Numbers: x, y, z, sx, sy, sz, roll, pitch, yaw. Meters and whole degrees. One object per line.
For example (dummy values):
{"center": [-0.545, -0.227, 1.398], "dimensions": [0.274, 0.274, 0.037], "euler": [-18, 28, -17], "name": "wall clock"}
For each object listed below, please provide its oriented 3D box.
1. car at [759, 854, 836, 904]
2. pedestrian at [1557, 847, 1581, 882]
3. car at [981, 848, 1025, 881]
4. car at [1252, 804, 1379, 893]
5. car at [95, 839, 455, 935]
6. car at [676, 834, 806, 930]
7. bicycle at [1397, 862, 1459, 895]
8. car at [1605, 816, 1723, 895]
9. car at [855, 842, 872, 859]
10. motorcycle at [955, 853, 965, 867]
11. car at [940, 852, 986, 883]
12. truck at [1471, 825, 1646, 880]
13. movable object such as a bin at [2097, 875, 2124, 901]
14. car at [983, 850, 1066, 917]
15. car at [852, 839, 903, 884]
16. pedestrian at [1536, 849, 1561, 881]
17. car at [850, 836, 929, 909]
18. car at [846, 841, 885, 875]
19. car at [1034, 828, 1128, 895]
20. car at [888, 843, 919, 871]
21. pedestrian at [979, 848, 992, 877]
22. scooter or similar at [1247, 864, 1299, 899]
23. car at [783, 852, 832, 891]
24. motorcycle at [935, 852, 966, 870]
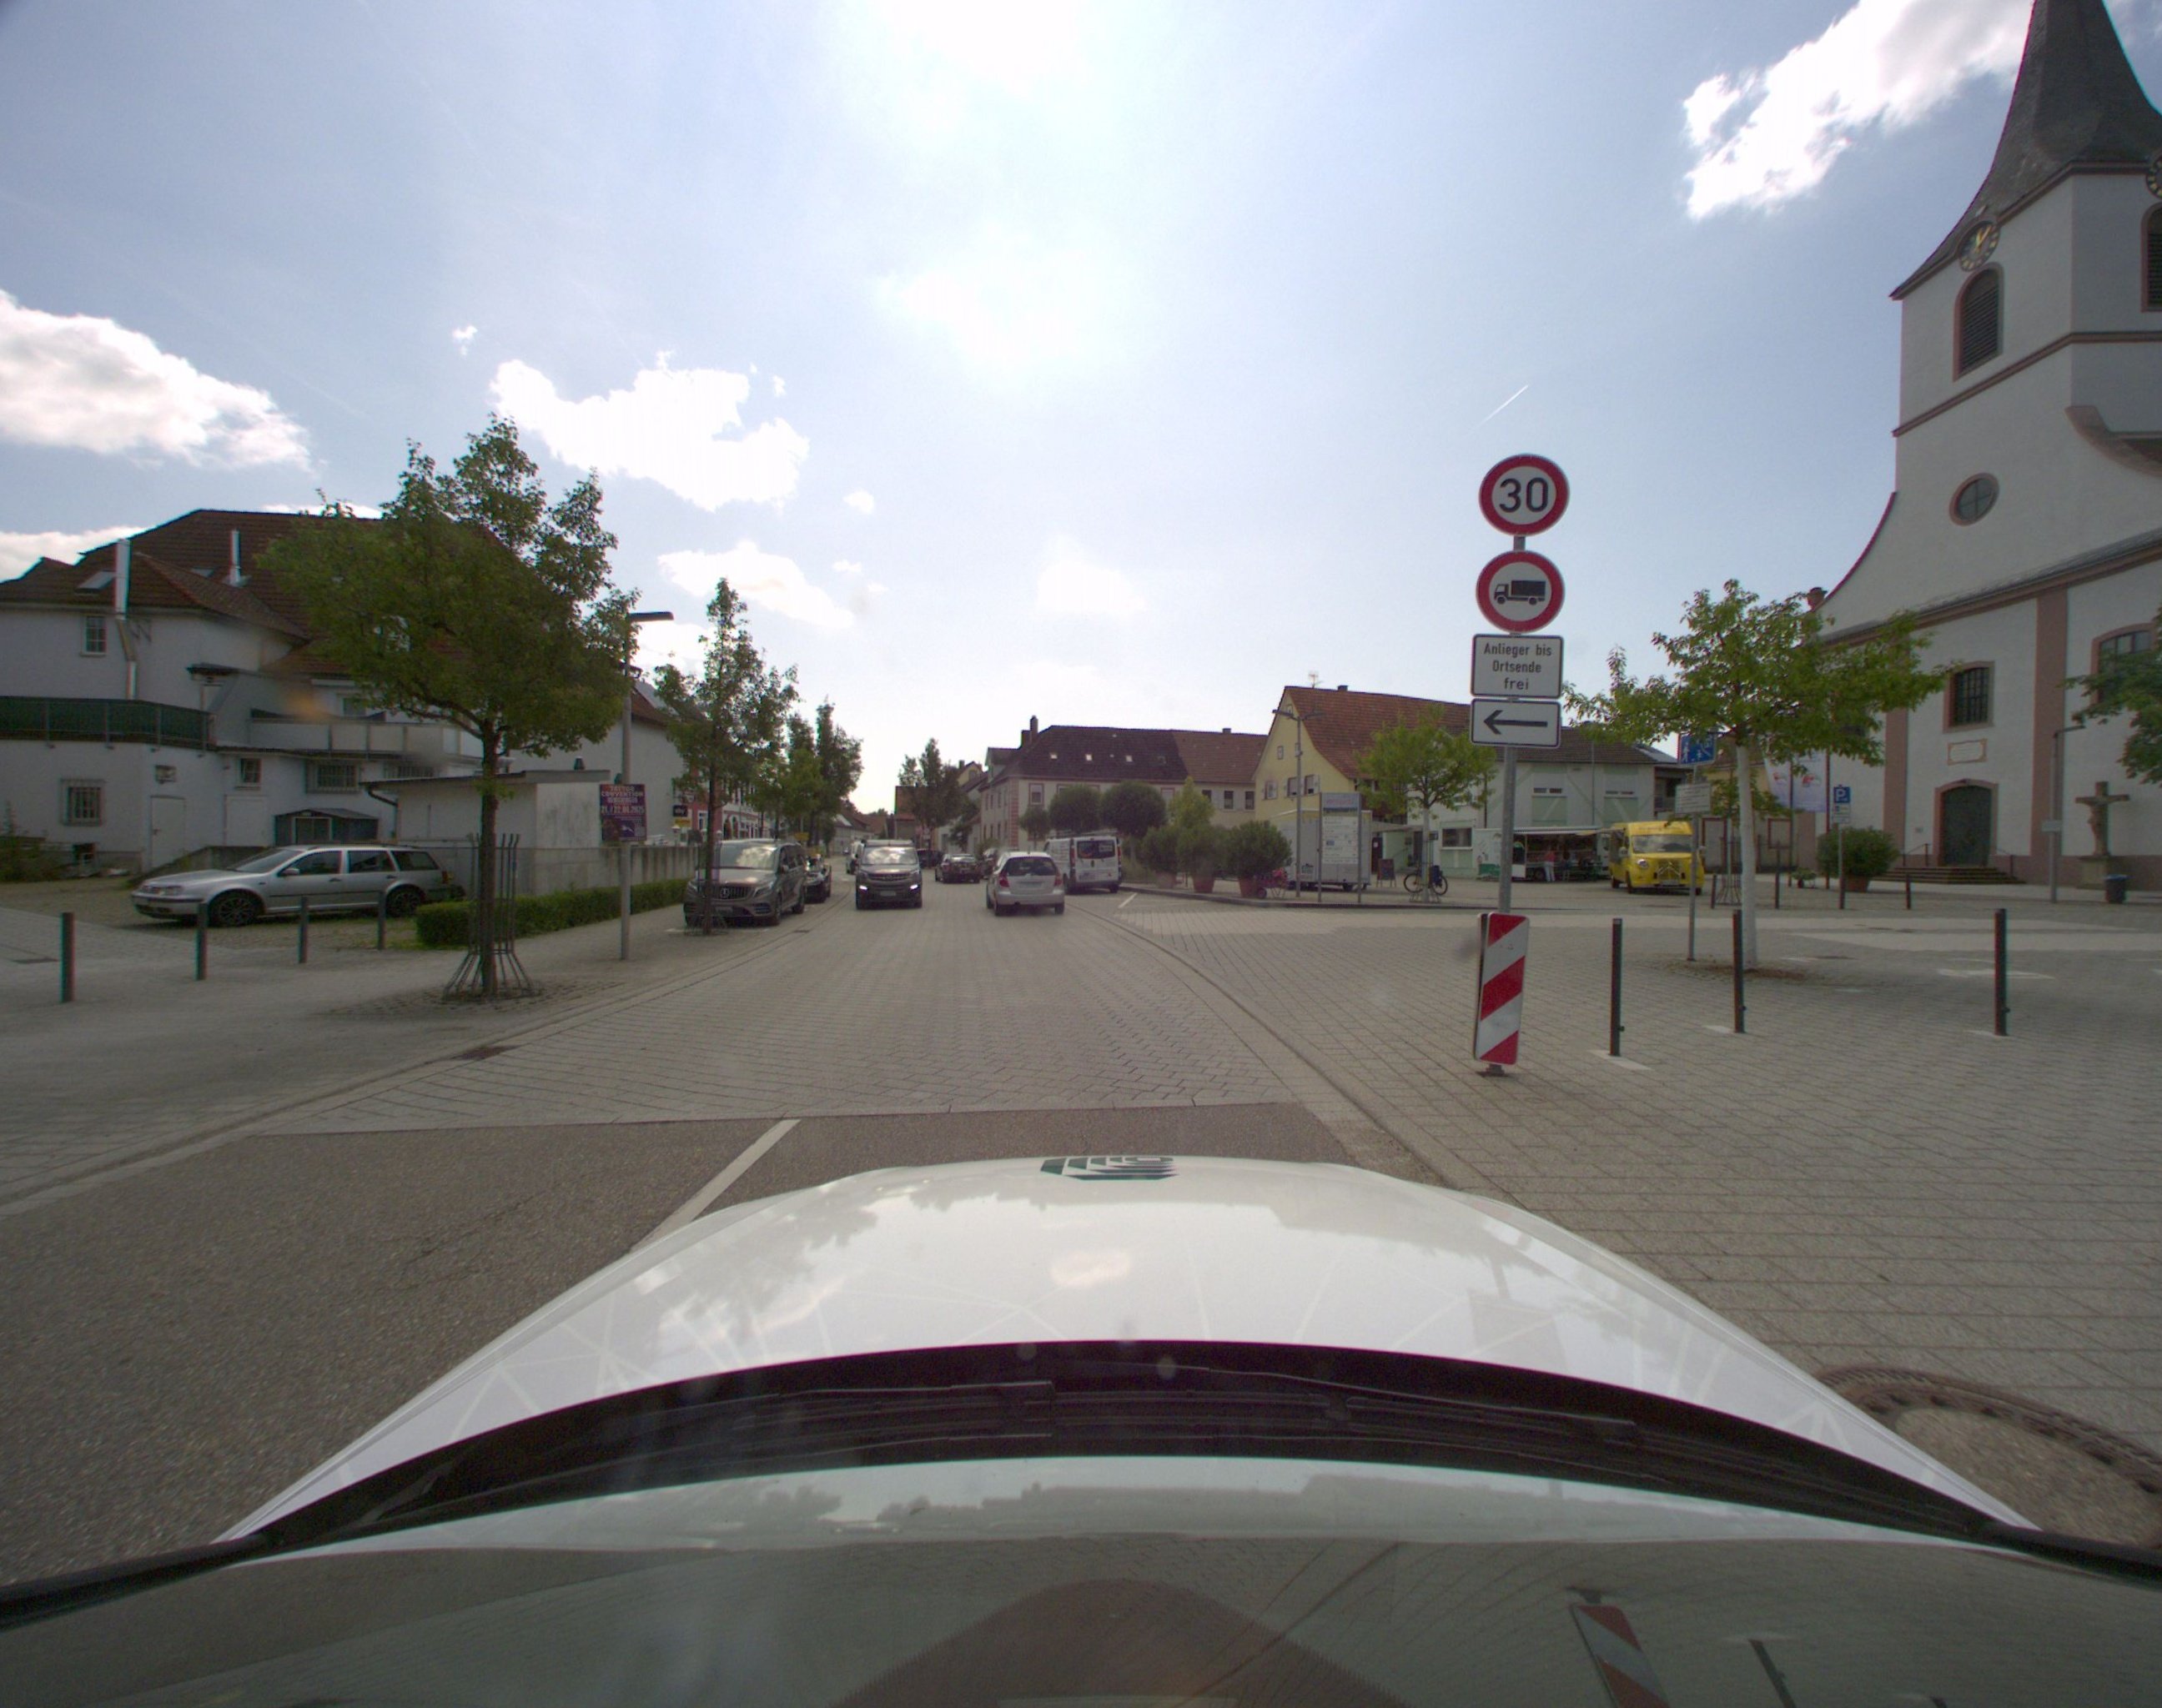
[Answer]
{"center": [-9.126, 0.744, 26.541], "dimensions": [1.817, 1.423, 4.518], "euler": [0, 0, -12], "name": "car"}
{"center": [22.009, 0.463, 36.749], "dimensions": [0.558, 1.540, 0.813], "euler": [0, 0, -6], "name": "pedestrian"}
{"center": [-3.978, 0.500, 40.891], "dimensions": [1.770, 1.564, 4.401], "euler": [0, 0, -11], "name": "car"}
{"center": [8.687, -0.169, 31.127], "dimensions": [2.744, 2.963, 7.112], "euler": [1, 0, 0], "name": "car"}
{"center": [-15.146, 0.522, 15.670], "dimensions": [1.976, 1.496, 4.461], "euler": [3, 1, 23], "name": "car"}
{"center": [-7.953, 0.567, 19.581], "dimensions": [1.988, 1.990, 5.023], "euler": [0, 0, -12], "name": "car"}
{"center": [11.851, 0.819, 27.878], "dimensions": [0.756, 1.068, 2.099], "euler": [0, 0, -17], "name": "bicycle"}
{"center": [20.601, 0.017, 29.157], "dimensions": [2.620, 2.477, 7.007], "euler": [0, 0, 29], "name": "car"}
{"center": [-25.027, -0.413, 93.725], "dimensions": [1.644, 1.849, 3.582], "euler": [-1, 0, -20], "name": "car"}
{"center": [-9.607, 0.495, 64.737], "dimensions": [0.526, 1.123, 1.059], "euler": [0, 0, -24], "name": "motorcycle"}
{"center": [-5.689, 0.611, 38.978], "dimensions": [1.946, 1.407, 3.984], "euler": [0, 0, -12], "name": "car"}
{"center": [22.520, -0.060, 38.607], "dimensions": [6.794, 2.497, 2.951], "euler": [0, 0, -7], "name": "truck"}
{"center": [27.764, 0.910, 21.967], "dimensions": [0.293, 0.699, 0.364], "euler": [0, 0, -8], "name": "movable object such as a bin"}
{"center": [-1.603, 0.713, 21.854], "dimensions": [1.769, 1.594, 3.986], "euler": [0, 0, -10], "name": "car"}
{"center": [-9.929, 0.317, 39.460], "dimensions": [2.000, 2.013, 4.709], "euler": [-1, 1, -19], "name": "car"}
{"center": [20.992, 0.489, 36.558], "dimensions": [0.642, 1.442, 0.759], "euler": [-1, -1, -8], "name": "pedestrian"}
{"center": [-5.745, 0.480, 24.907], "dimensions": [1.993, 2.013, 4.725], "euler": [0, 1, -9], "name": "car"}
{"center": [-13.737, 0.234, 51.760], "dimensions": [2.000, 2.013, 4.709], "euler": [-1, 1, -19], "name": "car"}
{"center": [-0.124, 0.232, 29.637], "dimensions": [1.947, 2.177, 5.071], "euler": [-2, 1, -17], "name": "car"}
{"center": [-12.948, 0.252, 59.282], "dimensions": [1.773, 1.888, 4.422], "euler": [3, -1, -17], "name": "car"}
{"center": [-5.286, 0.462, 44.969], "dimensions": [0.640, 1.629, 0.617], "euler": [0, 0, -15], "name": "pedestrian"}
{"center": [5.084, 0.716, 21.574], "dimensions": [1.141, 0.881, 0.813], "euler": [0, 0, -8], "name": "scooter or similar"}
{"center": [-11.210, 0.661, 33.534], "dimensions": [1.671, 1.474, 3.942], "euler": [0, 0, -16], "name": "car"}
{"center": [-10.060, 0.520, 62.597], "dimensions": [2.198, 1.395, 0.878], "euler": [-1, 0, 25], "name": "motorcycle"}
